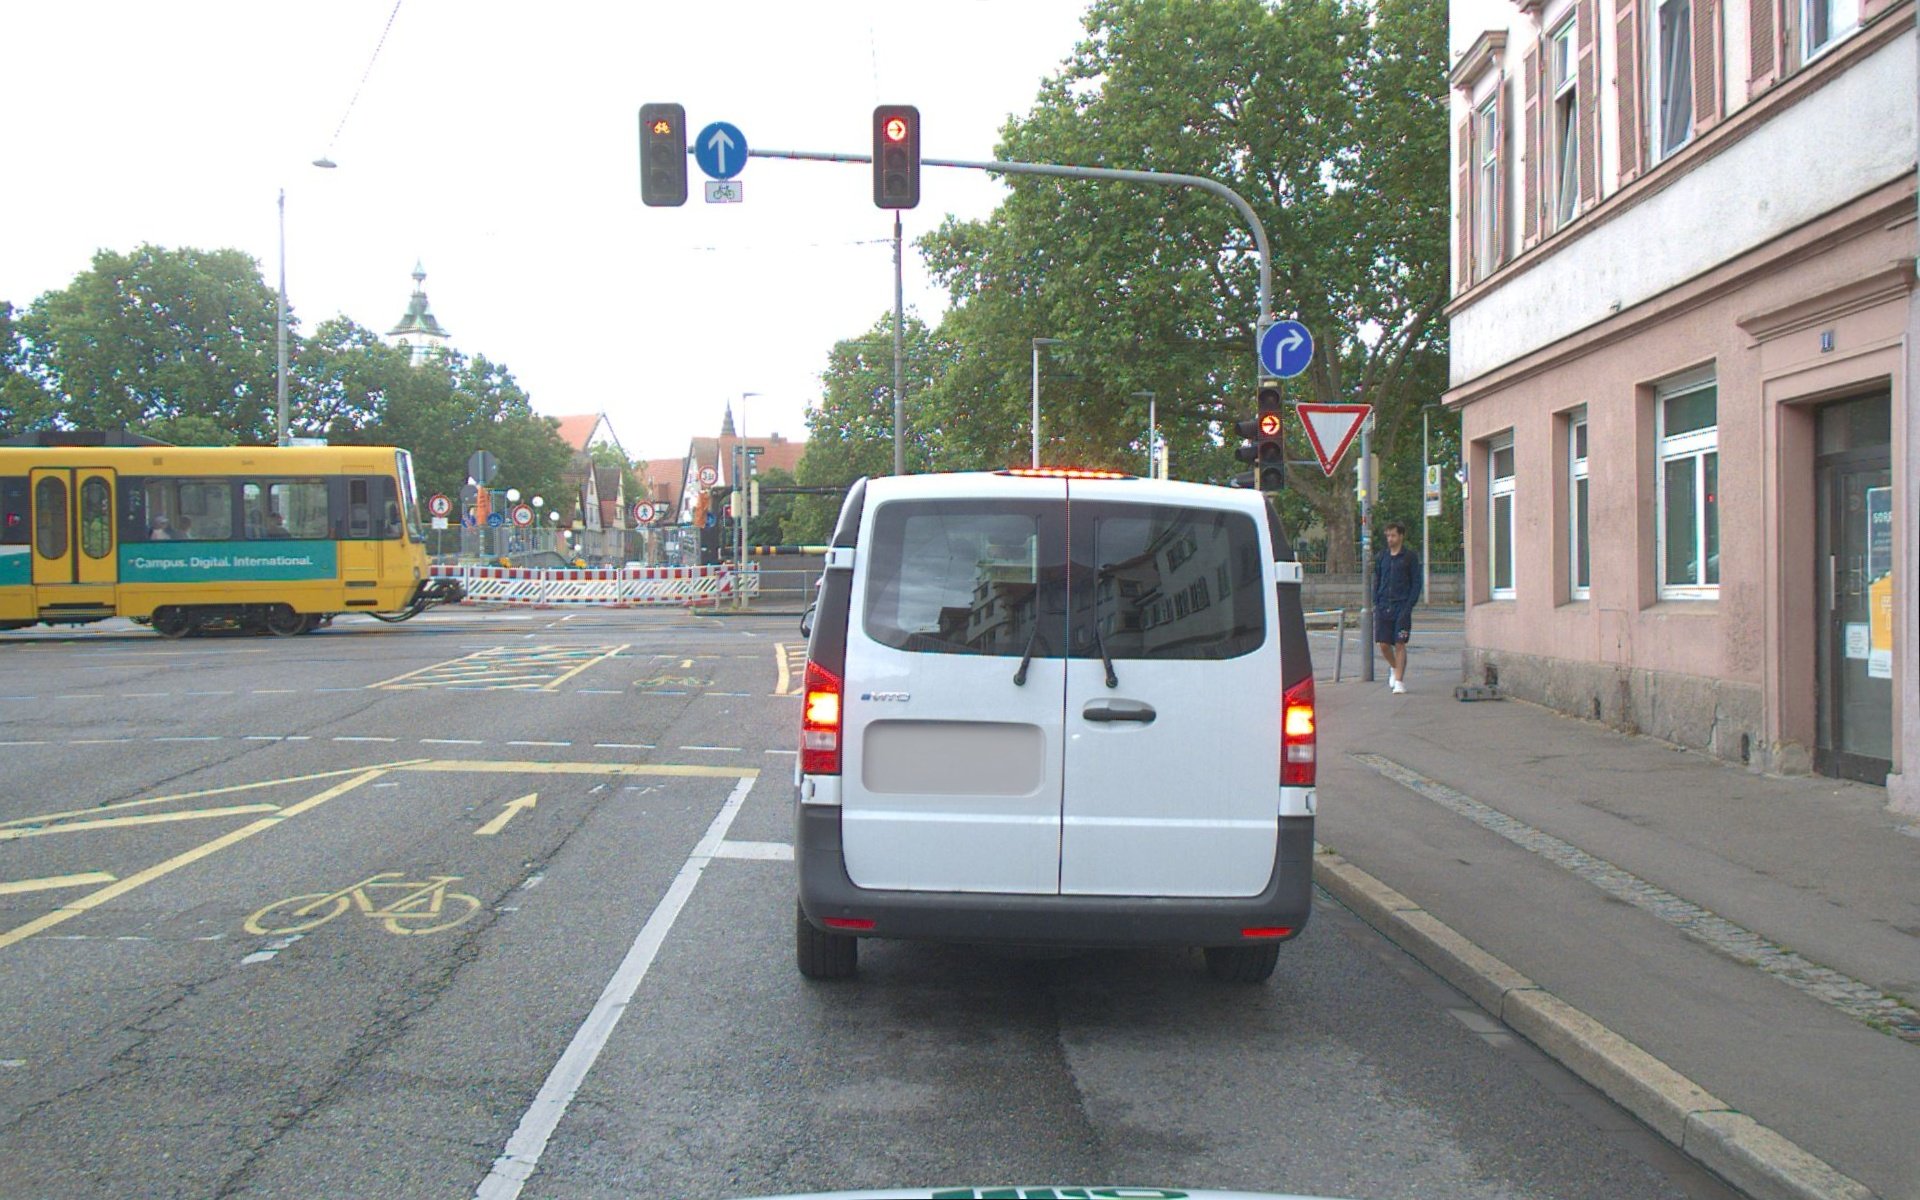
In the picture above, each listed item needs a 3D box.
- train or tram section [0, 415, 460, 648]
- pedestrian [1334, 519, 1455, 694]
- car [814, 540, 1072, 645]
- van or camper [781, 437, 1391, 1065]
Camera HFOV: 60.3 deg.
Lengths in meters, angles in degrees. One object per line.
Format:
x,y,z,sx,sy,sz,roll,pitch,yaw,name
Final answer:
-18.965,-1.225,30.318,18.447,4.072,3.255,-2,3,-13,train or tram section
4.868,0.054,18.532,1.138,1.888,0.672,-2,1,-30,pedestrian
-0.309,-0.162,27.987,4.187,1.602,1.870,-1,2,-3,car
0.261,0.408,7.425,1.899,1.958,4.438,1,2,-4,van or camper
